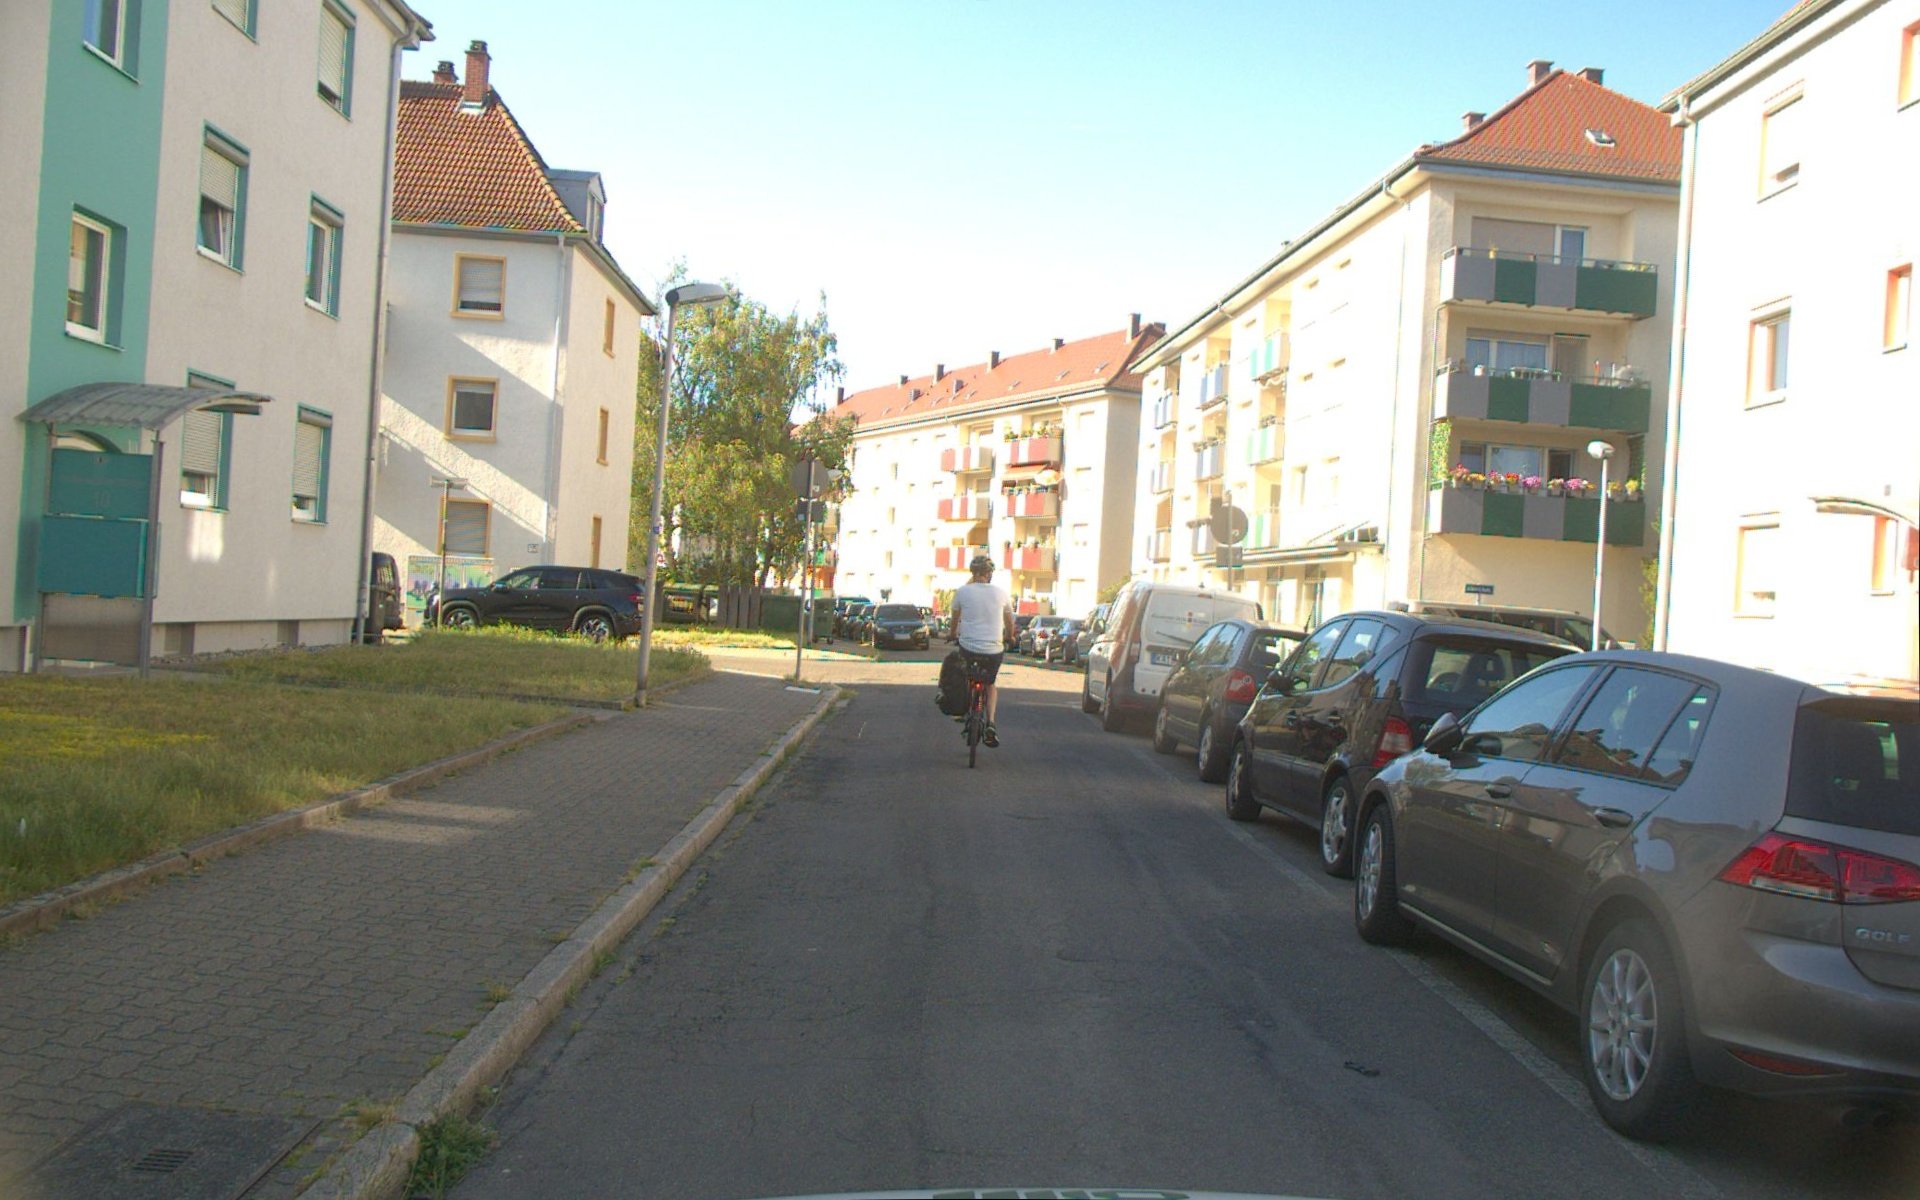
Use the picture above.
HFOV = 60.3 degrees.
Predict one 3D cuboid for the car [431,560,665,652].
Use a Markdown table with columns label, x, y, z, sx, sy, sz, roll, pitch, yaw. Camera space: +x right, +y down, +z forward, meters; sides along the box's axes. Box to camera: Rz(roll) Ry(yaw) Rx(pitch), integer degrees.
| label | x | y | z | sx | sy | sz | roll | pitch | yaw |
| --- | --- | --- | --- | --- | --- | --- | --- | --- | --- |
| car | -8.547 | 0.151 | 34.596 | 4.397 | 1.693 | 1.719 | 2 | -2 | -2 |

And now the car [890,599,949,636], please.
| label | x | y | z | sx | sy | sz | roll | pitch | yaw |
| --- | --- | --- | --- | --- | --- | --- | --- | --- | --- |
| car | -2.069 | 0.858 | 82.864 | 1.739 | 1.664 | 4.018 | 1 | 1 | -20 |

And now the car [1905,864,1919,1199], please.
| label | x | y | z | sx | sy | sz | roll | pitch | yaw |
| --- | --- | --- | --- | --- | --- | --- | --- | --- | --- |
| car | 3.136 | 0.903 | 2.290 | 1.595 | 1.418 | 3.488 | 3 | 0 | -1 |

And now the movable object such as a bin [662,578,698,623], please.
| label | x | y | z | sx | sy | sz | roll | pitch | yaw |
| --- | --- | --- | --- | --- | --- | --- | --- | --- | --- |
| movable object such as a bin | -9.361 | 0.017 | 55.323 | 1.039 | 1.460 | 1.002 | 1 | 0 | -4 |

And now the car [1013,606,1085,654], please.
| label | x | y | z | sx | sy | sz | roll | pitch | yaw |
| --- | --- | --- | --- | --- | --- | --- | --- | --- | --- |
| car | 3.074 | 1.029 | 58.008 | 1.646 | 1.472 | 4.716 | 3 | 0 | -7 |

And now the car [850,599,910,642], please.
| label | x | y | z | sx | sy | sz | roll | pitch | yaw |
| --- | --- | --- | --- | --- | --- | --- | --- | --- | --- |
| car | -2.915 | 0.714 | 59.417 | 1.647 | 1.468 | 4.270 | 0 | 0 | -10 |

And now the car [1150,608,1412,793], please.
| label | x | y | z | sx | sy | sz | roll | pitch | yaw |
| --- | --- | --- | --- | --- | --- | --- | --- | --- | --- |
| car | 2.922 | 0.857 | 15.810 | 1.541 | 1.442 | 3.786 | 3 | 0 | -3 |

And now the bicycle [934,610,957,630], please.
| label | x | y | z | sx | sy | sz | roll | pitch | yaw |
| --- | --- | --- | --- | --- | --- | --- | --- | --- | --- |
| bicycle | -0.822 | 1.091 | 92.165 | 0.609 | 0.995 | 1.883 | 0 | 2 | -22 |

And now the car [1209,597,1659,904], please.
| label | x | y | z | sx | sy | sz | roll | pitch | yaw |
| --- | --- | --- | --- | --- | --- | --- | --- | --- | --- |
| car | 2.900 | 0.834 | 10.926 | 1.586 | 1.577 | 3.607 | 4 | 0 | -5 |

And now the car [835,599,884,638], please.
| label | x | y | z | sx | sy | sz | roll | pitch | yaw |
| --- | --- | --- | --- | --- | --- | --- | --- | --- | --- |
| car | -3.956 | 0.693 | 64.648 | 1.527 | 1.468 | 3.959 | 0 | 0 | -10 |

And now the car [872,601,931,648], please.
| label | x | y | z | sx | sy | sz | roll | pitch | yaw |
| --- | --- | --- | --- | --- | --- | --- | --- | --- | --- |
| car | -1.962 | 0.762 | 54.183 | 1.645 | 1.478 | 4.614 | 0 | 0 | -6 |

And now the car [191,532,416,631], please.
| label | x | y | z | sx | sy | sz | roll | pitch | yaw |
| --- | --- | --- | --- | --- | --- | --- | --- | --- | --- |
| car | -13.607 | -0.357 | 34.430 | 3.910 | 1.820 | 1.719 | 2 | -2 | -1 |

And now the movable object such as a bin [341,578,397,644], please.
| label | x | y | z | sx | sy | sz | roll | pitch | yaw |
| --- | --- | --- | --- | --- | --- | --- | --- | --- | --- |
| movable object such as a bin | -9.456 | 0.168 | 26.465 | 0.600 | 1.009 | 0.714 | 4 | 0 | -3 |

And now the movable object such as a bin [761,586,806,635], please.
| label | x | y | z | sx | sy | sz | roll | pitch | yaw |
| --- | --- | --- | --- | --- | --- | --- | --- | --- | --- |
| movable object such as a bin | -5.358 | 0.318 | 50.234 | 1.195 | 1.404 | 0.767 | 4 | -1 | 1 |

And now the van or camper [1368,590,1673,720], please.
| label | x | y | z | sx | sy | sz | roll | pitch | yaw |
| --- | --- | --- | --- | --- | --- | --- | --- | --- | --- |
| van or camper | 10.570 | 1.011 | 31.465 | 5.020 | 2.048 | 2.000 | 3 | 1 | -1 |

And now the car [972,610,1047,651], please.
| label | x | y | z | sx | sy | sz | roll | pitch | yaw |
| --- | --- | --- | --- | --- | --- | --- | --- | --- | --- |
| car | 1.858 | 1.145 | 64.051 | 1.665 | 1.456 | 4.670 | 2 | -1 | -14 |

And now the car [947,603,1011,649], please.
| label | x | y | z | sx | sy | sz | roll | pitch | yaw |
| --- | --- | --- | --- | --- | --- | --- | --- | --- | --- |
| car | 0.773 | 1.094 | 70.604 | 1.665 | 1.684 | 4.376 | 2 | 2 | -13 |

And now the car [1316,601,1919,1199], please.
| label | x | y | z | sx | sy | sz | roll | pitch | yaw |
| --- | --- | --- | --- | --- | --- | --- | --- | --- | --- |
| car | 2.765 | 0.880 | 6.259 | 1.597 | 1.474 | 3.949 | 6 | 1 | -4 |

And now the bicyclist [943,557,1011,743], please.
| label | x | y | z | sx | sy | sz | roll | pitch | yaw |
| --- | --- | --- | --- | --- | --- | --- | --- | --- | --- |
| bicyclist | 0.142 | 0.435 | 14.783 | 0.584 | 1.606 | 0.907 | 0 | -1 | 0 |

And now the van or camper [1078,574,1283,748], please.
| label | x | y | z | sx | sy | sz | roll | pitch | yaw |
| --- | --- | --- | --- | --- | --- | --- | --- | --- | --- |
| van or camper | 2.647 | 0.681 | 20.943 | 1.757 | 1.777 | 4.734 | 6 | 0 | -1 |

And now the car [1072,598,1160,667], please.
| label | x | y | z | sx | sy | sz | roll | pitch | yaw |
| --- | --- | --- | --- | --- | --- | --- | --- | --- | --- |
| car | 4.308 | 0.870 | 46.301 | 1.713 | 1.856 | 4.127 | 1 | 0 | -5 |

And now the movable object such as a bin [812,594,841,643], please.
| label | x | y | z | sx | sy | sz | roll | pitch | yaw |
| --- | --- | --- | --- | --- | --- | --- | --- | --- | --- |
| movable object such as a bin | -4.032 | 0.558 | 49.931 | 0.760 | 1.417 | 1.416 | 3 | 0 | -3 |

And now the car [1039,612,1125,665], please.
| label | x | y | z | sx | sy | sz | roll | pitch | yaw |
| --- | --- | --- | --- | --- | --- | --- | --- | --- | --- |
| car | 3.769 | 1.178 | 51.906 | 1.647 | 1.431 | 4.536 | 3 | 0 | -9 |

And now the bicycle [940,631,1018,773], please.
| label | x | y | z | sx | sy | sz | roll | pitch | yaw |
| --- | --- | --- | --- | --- | --- | --- | --- | --- | --- |
| bicycle | 0.150 | 0.874 | 14.826 | 0.614 | 1.134 | 1.816 | 2 | 0 | -1 |
